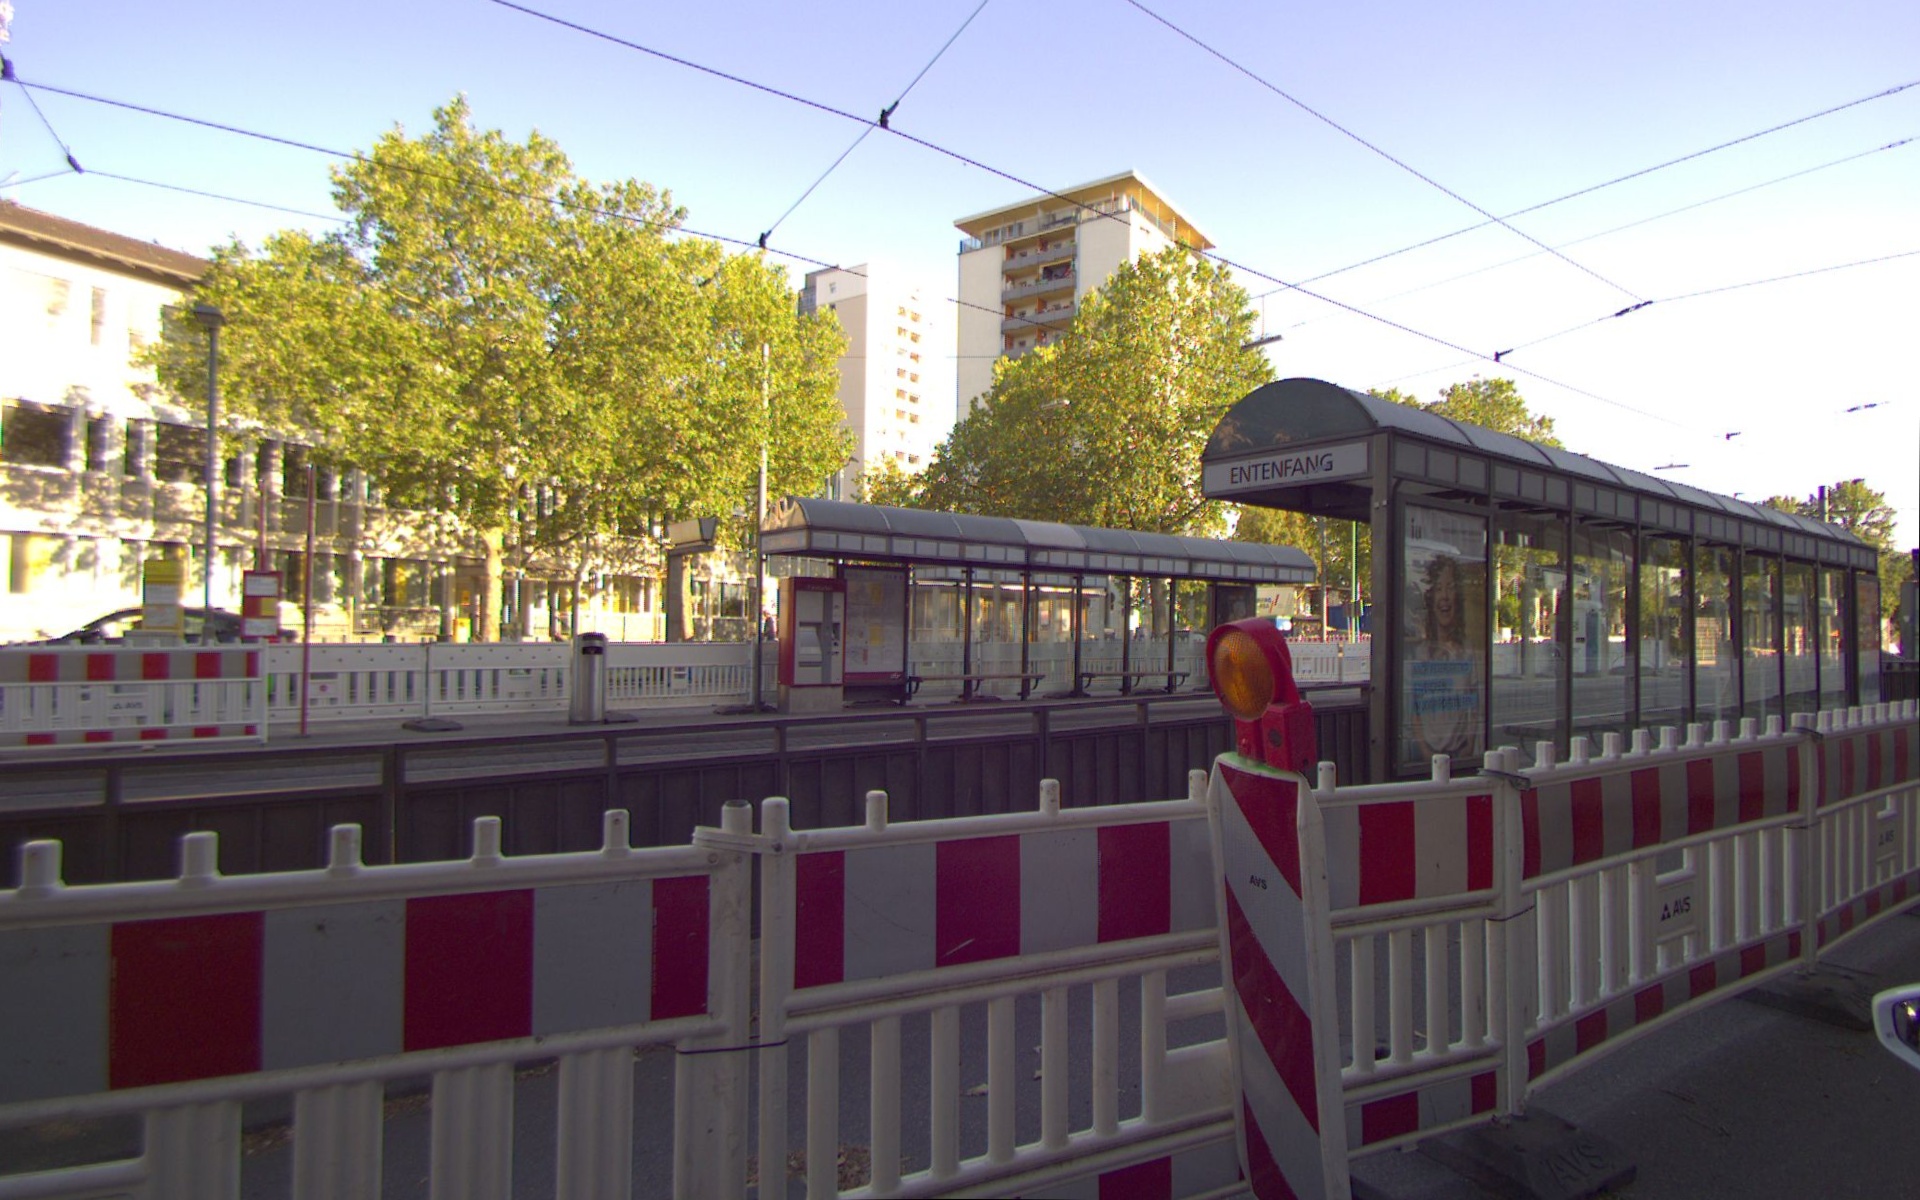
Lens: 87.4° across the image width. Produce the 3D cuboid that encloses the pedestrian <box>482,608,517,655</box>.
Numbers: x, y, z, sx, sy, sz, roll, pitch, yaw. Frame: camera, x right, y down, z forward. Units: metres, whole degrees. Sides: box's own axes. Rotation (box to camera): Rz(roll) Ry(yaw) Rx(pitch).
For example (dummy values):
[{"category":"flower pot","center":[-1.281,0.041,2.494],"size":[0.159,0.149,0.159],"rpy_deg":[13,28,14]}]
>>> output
[{"category":"pedestrian","center":[-17.282,1.186,37.688],"size":[0.793,1.751,0.884],"rpy_deg":[0,-1,28]}]

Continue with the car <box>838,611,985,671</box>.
[{"category":"car","center":[-1.288,1.095,27.426],"size":[3.740,1.532,1.646],"rpy_deg":[2,-2,-38]}]

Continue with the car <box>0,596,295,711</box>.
[{"category":"car","center":[-13.783,0.842,16.601],"size":[4.544,1.689,1.881],"rpy_deg":[2,0,-37]}]
